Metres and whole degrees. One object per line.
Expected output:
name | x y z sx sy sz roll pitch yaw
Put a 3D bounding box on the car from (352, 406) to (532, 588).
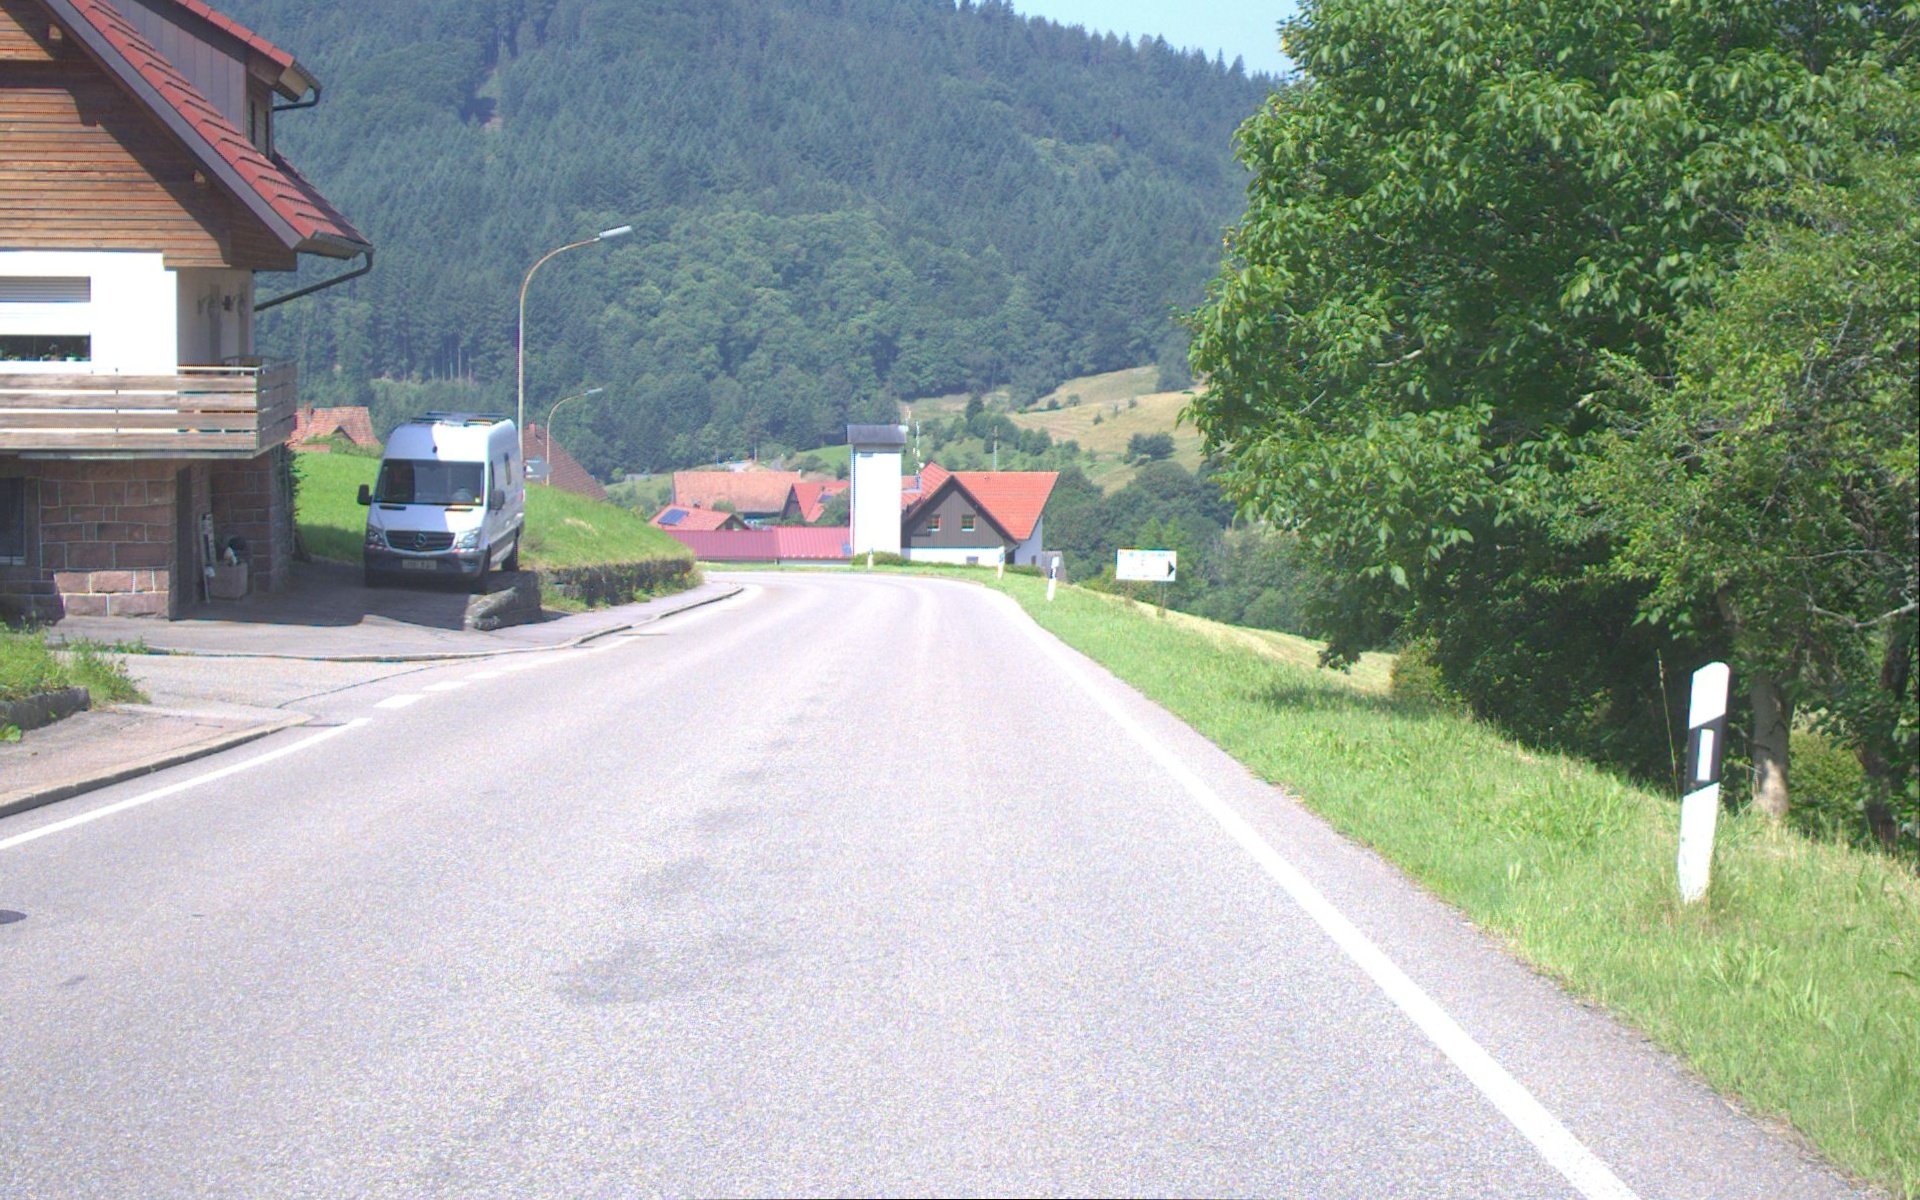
car | -8.584 -1.816 57.583 2.067 2.679 7.176 1 4 -1
